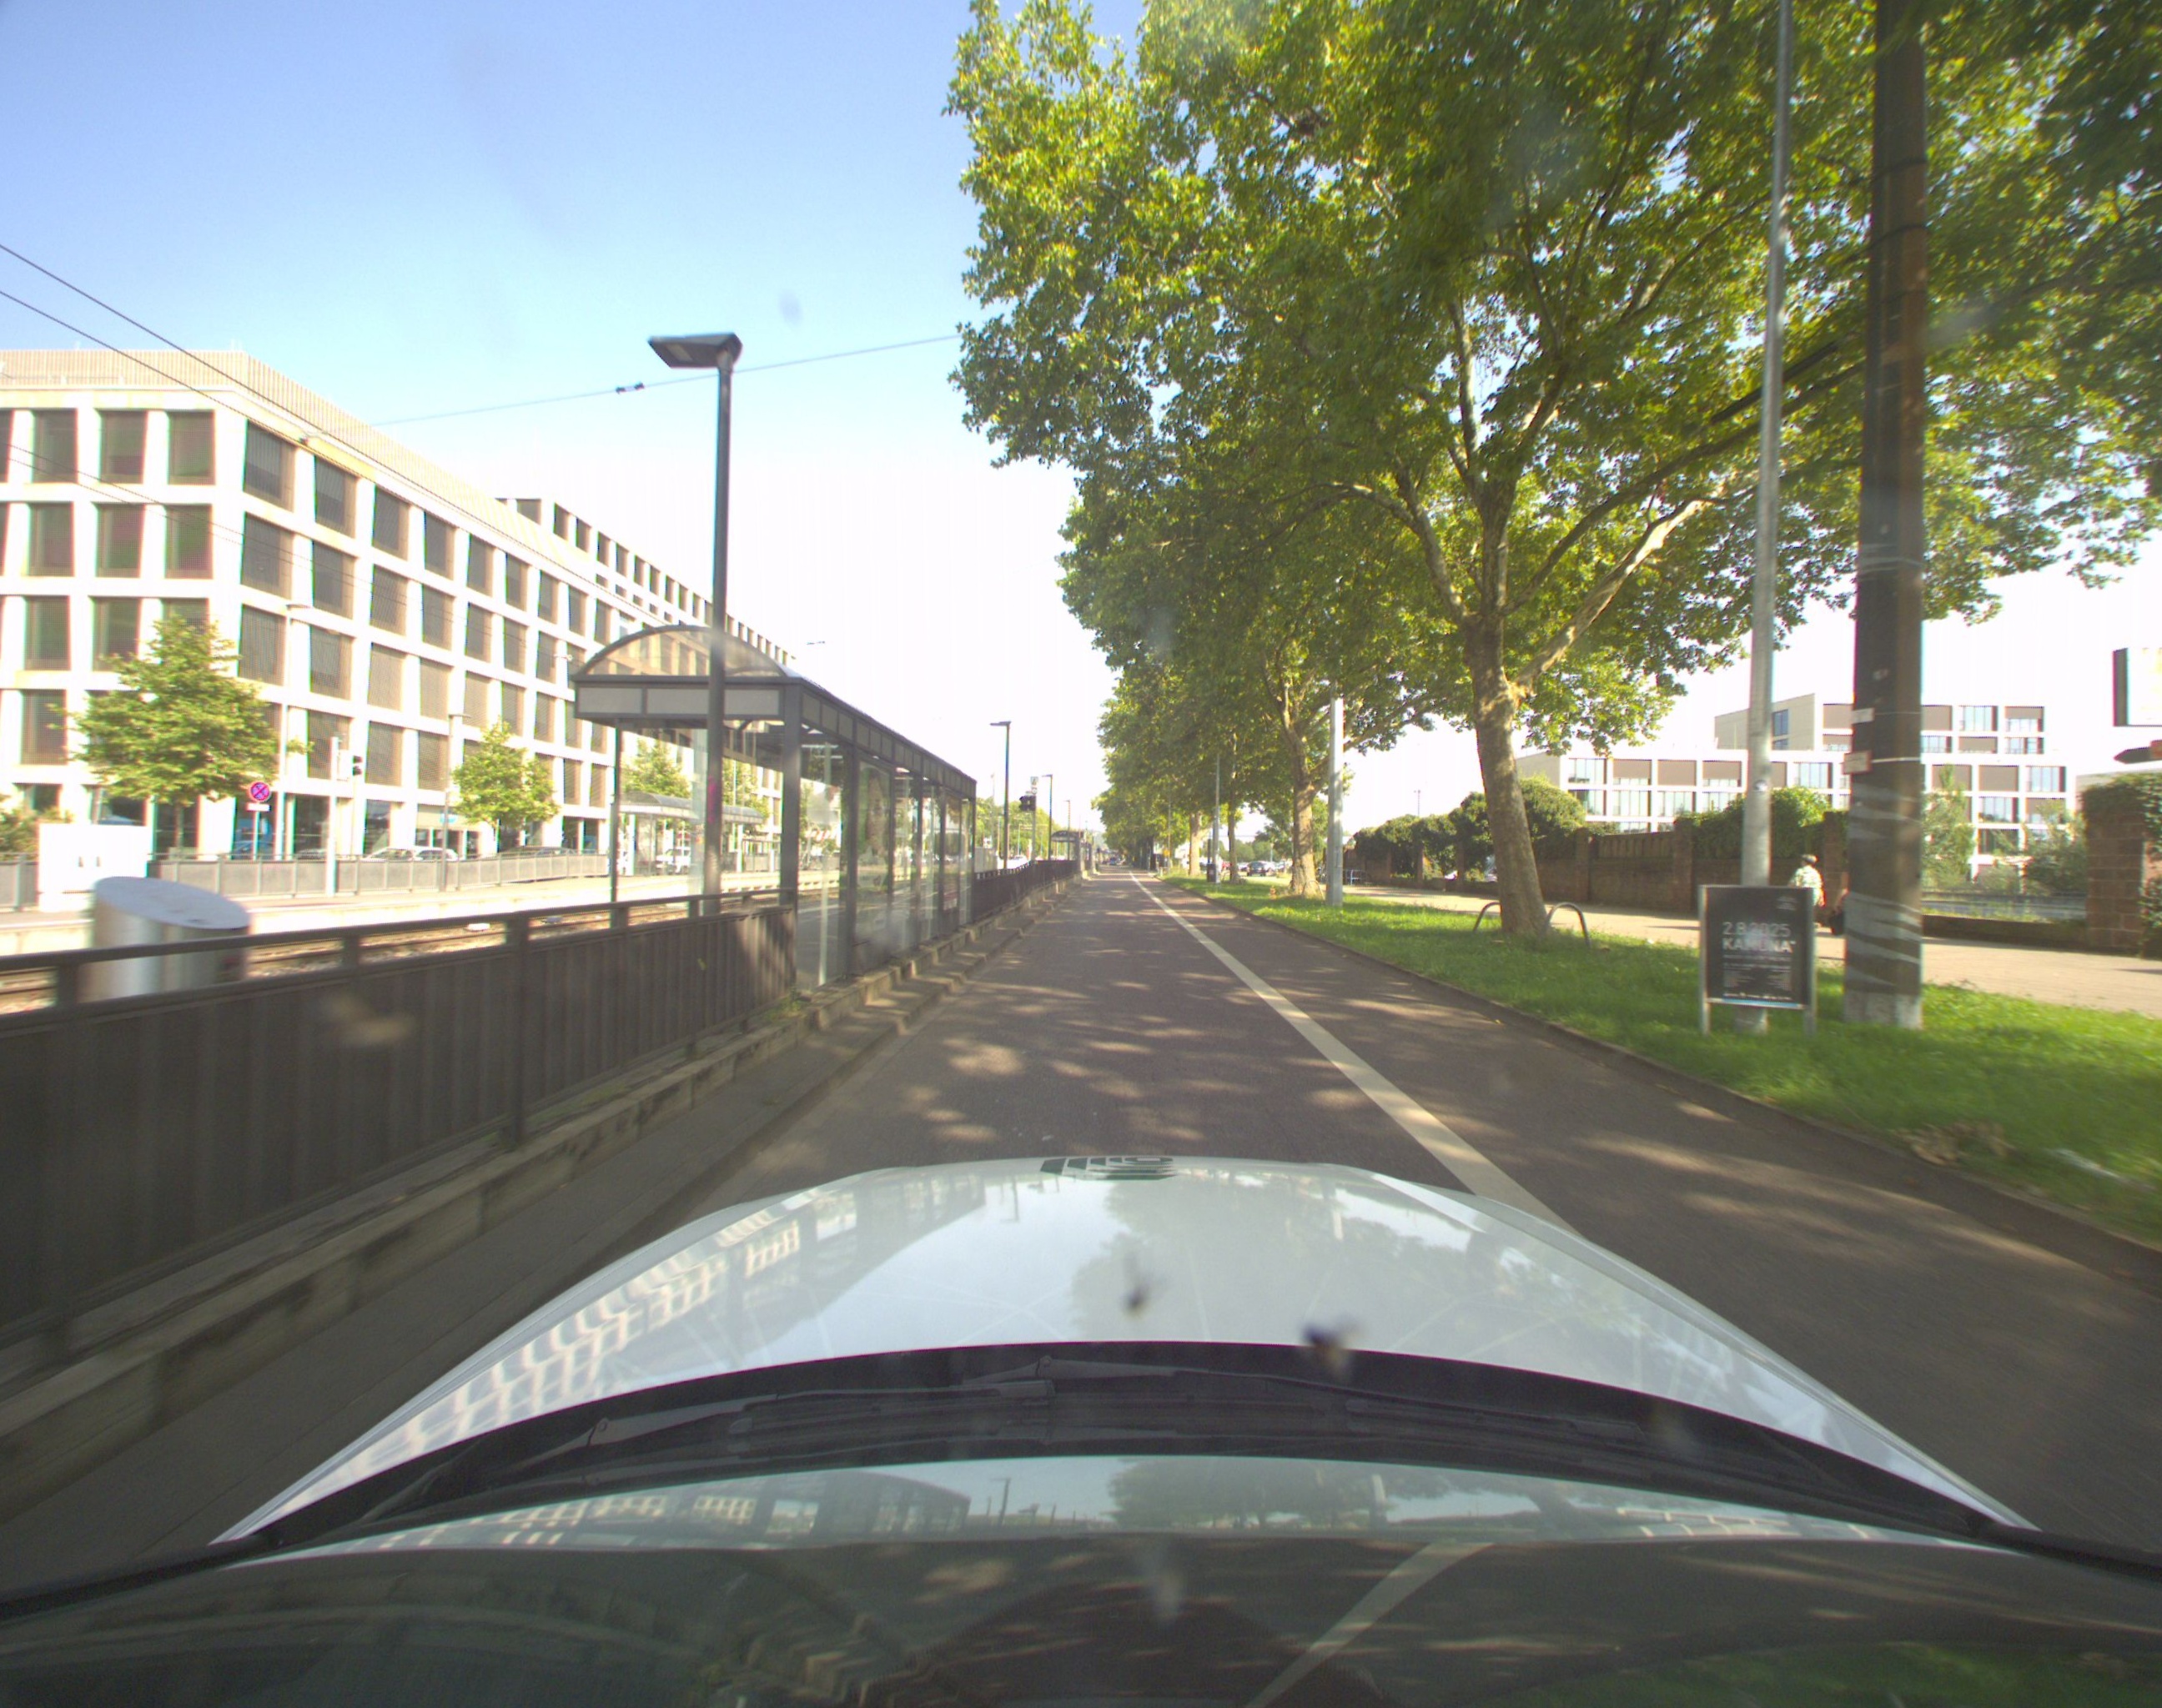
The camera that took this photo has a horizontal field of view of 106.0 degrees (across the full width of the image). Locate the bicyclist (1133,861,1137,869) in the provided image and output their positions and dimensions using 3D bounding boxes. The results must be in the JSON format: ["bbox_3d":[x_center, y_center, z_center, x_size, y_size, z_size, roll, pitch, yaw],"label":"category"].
[{"bbox_3d":[9.778,2.017,147.682,0.703,1.461,1.009,2,-1,2],"label":"bicyclist"}]

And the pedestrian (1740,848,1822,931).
[{"bbox_3d":[13.895,0.685,16.186,0.803,1.604,0.948,-1,-1,2],"label":"pedestrian"}]

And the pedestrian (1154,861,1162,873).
[{"bbox_3d":[10.158,1.687,107.196,0.619,1.617,0.850,0,-1,40],"label":"pedestrian"}]

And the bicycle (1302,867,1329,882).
[{"bbox_3d":[15.165,1.316,52.662,0.509,0.969,1.642,0,-1,-39],"label":"bicycle"}]

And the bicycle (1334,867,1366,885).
[{"bbox_3d":[15.323,1.242,46.330,1.649,0.969,0.506,-1,-1,3],"label":"bicycle"}]

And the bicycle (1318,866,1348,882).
[{"bbox_3d":[15.490,1.234,50.086,1.647,0.969,0.507,-1,-1,7],"label":"bicycle"}]

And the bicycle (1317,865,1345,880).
[{"bbox_3d":[16.725,1.245,54.501,1.648,0.969,0.507,-1,-1,4],"label":"bicycle"}]

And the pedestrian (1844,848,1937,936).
[{"bbox_3d":[15.308,0.705,15.421,0.803,1.604,0.948,-1,-1,2],"label":"pedestrian"}]

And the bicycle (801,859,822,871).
[{"bbox_3d":[-15.285,0.623,46.137,0.474,0.662,1.616,1,0,7],"label":"bicycle"}]

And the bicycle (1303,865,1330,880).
[{"bbox_3d":[15.431,1.207,53.363,0.509,0.969,1.642,0,-1,-39],"label":"bicycle"}]

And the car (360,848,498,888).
[{"bbox_3d":[-24.285,0.502,30.544,1.636,1.377,4.224,1,0,2],"label":"car"}]

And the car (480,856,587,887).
[{"bbox_3d":[-23.542,0.711,35.214,1.636,1.253,4.224,1,0,2],"label":"car"}]

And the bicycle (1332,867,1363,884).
[{"bbox_3d":[15.390,1.224,47.083,1.647,0.969,0.507,-1,-1,7],"label":"bicycle"}]

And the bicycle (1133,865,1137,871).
[{"bbox_3d":[9.753,2.537,147.489,0.712,1.107,2.510,2,-1,3],"label":"bicycle"}]

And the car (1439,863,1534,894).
[{"bbox_3d":[23.202,1.356,46.710,4.498,1.675,1.980,1,0,5],"label":"car"}]

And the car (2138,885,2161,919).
[{"bbox_3d":[44.051,1.882,31.210,4.449,1.294,1.850,0,0,5],"label":"car"}]

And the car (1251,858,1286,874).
[{"bbox_3d":[20.643,1.357,89.624,4.272,1.679,1.706,1,-1,-43],"label":"car"}]

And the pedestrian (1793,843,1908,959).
[{"bbox_3d":[11.391,0.676,12.089,0.803,1.636,0.948,-1,-1,2],"label":"pedestrian"}]

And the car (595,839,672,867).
[{"bbox_3d":[-23.514,-0.058,42.969,1.636,1.377,4.224,1,0,2],"label":"car"}]

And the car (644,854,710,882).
[{"bbox_3d":[-23.505,0.771,47.568,1.636,1.550,4.224,1,0,2],"label":"car"}]

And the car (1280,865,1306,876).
[{"bbox_3d":[32.956,2.565,126.533,3.752,1.446,1.530,2,-1,8],"label":"car"}]

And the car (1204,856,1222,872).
[{"bbox_3d":[16.880,1.246,104.100,1.715,2.048,4.464,1,-1,3],"label":"car"}]
